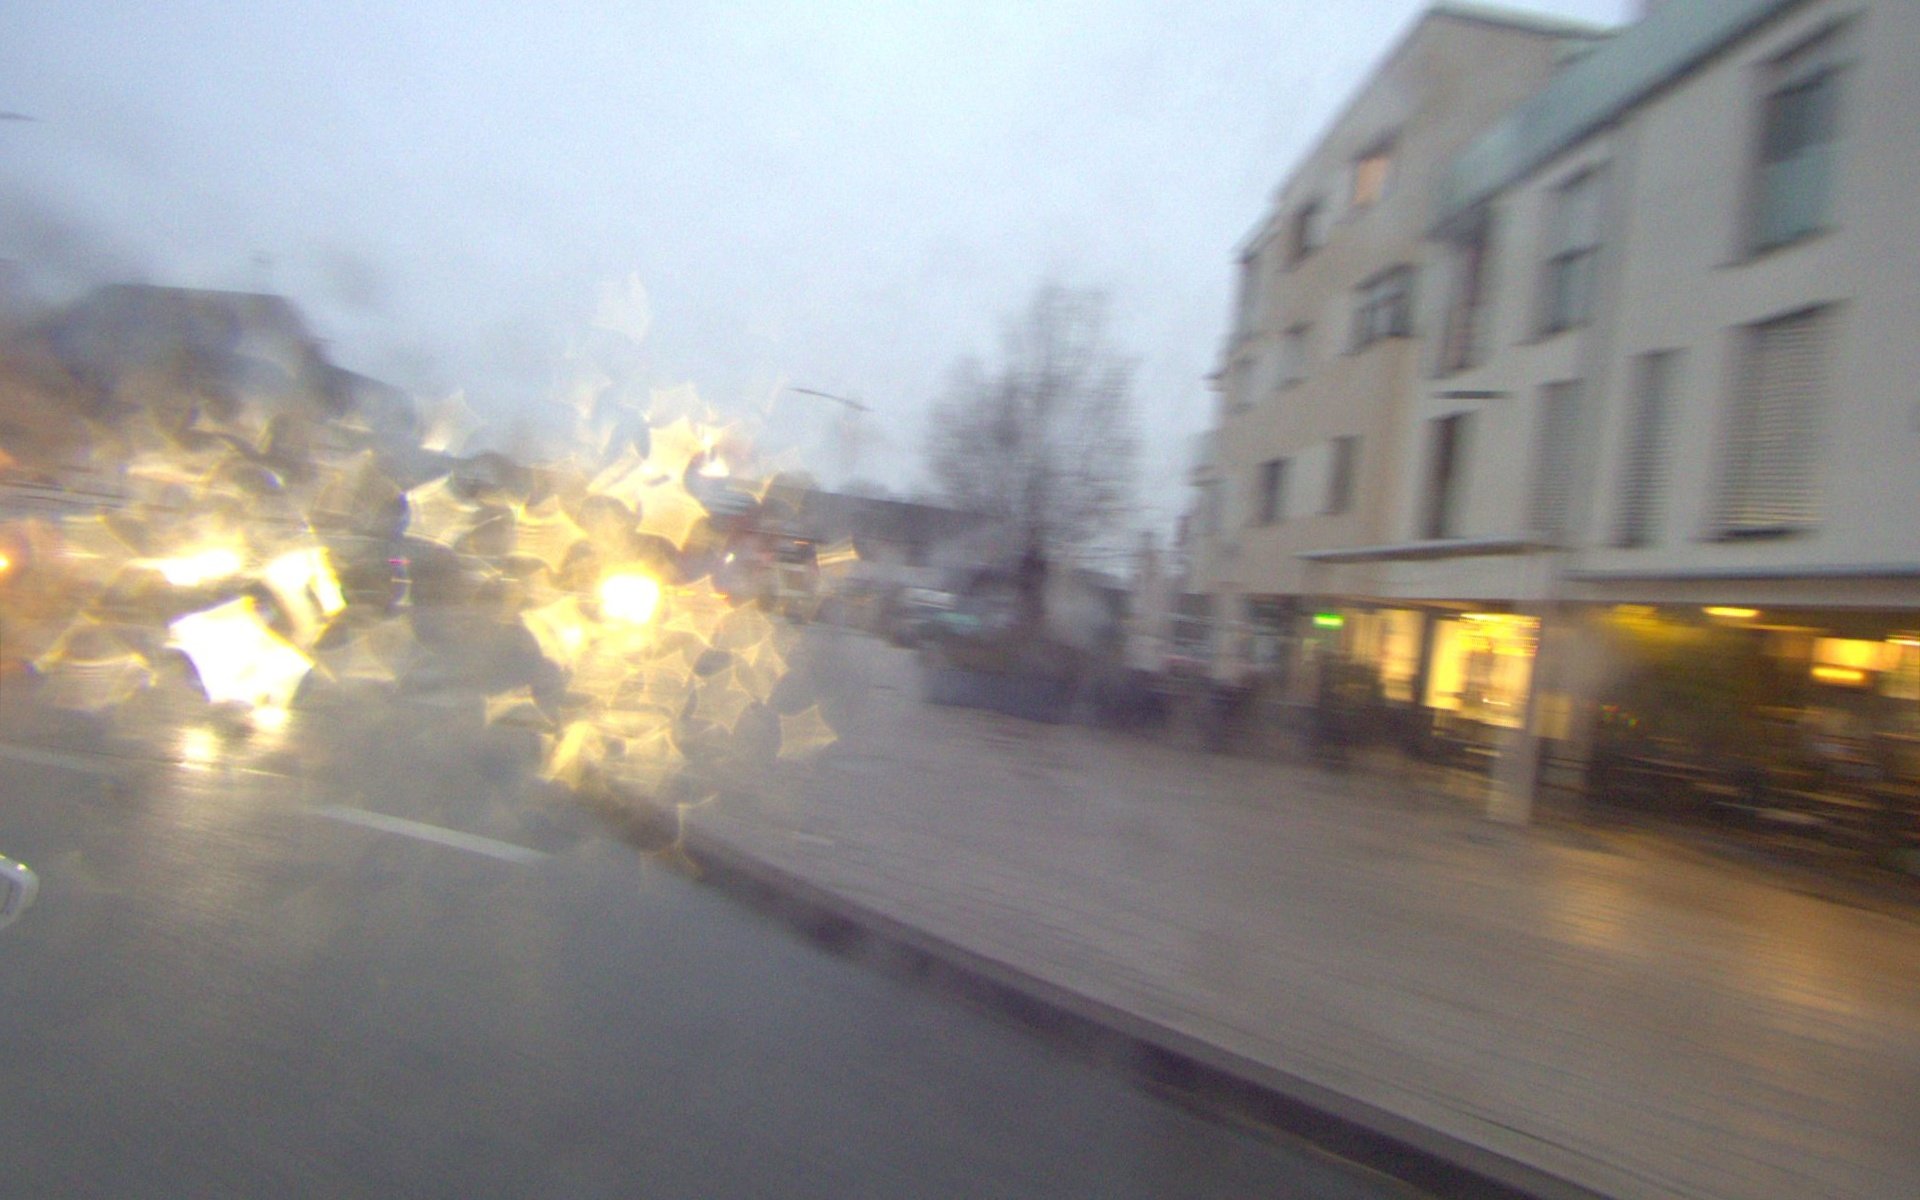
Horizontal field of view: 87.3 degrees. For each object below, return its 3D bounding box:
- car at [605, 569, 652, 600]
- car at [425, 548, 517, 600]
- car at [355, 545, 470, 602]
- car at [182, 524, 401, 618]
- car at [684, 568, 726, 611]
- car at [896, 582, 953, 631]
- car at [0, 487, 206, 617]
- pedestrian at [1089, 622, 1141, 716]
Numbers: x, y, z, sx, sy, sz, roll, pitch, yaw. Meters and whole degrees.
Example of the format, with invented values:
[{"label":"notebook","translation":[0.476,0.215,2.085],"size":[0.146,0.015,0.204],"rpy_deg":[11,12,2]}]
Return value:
[{"label":"car","translation":[-19.032,-0.908,57.915],"size":[1.851,1.471,3.992],"rpy_deg":[8,0,-11]},{"label":"car","translation":[-17.731,-0.888,36.673],"size":[1.644,1.569,3.714],"rpy_deg":[8,0,-5]},{"label":"car","translation":[-17.251,-0.784,31.897],"size":[1.698,1.483,3.706],"rpy_deg":[8,0,-5]},{"label":"car","translation":[-13.325,-0.509,20.411],"size":[1.666,1.526,4.255],"rpy_deg":[6,0,-3]},{"label":"car","translation":[-13.527,-0.560,53.621],"size":[1.966,2.039,4.888],"rpy_deg":[3,0,-13]},{"label":"car","translation":[-1.828,0.322,49.837],"size":[2.176,2.038,4.853],"rpy_deg":[7,-1,-7]},{"label":"car","translation":[-12.723,-0.650,13.858],"size":[1.666,1.570,4.000],"rpy_deg":[6,-1,-3]},{"label":"pedestrian","translation":[2.569,1.140,16.719],"size":[0.544,1.472,0.450],"rpy_deg":[7,1,-14]}]
